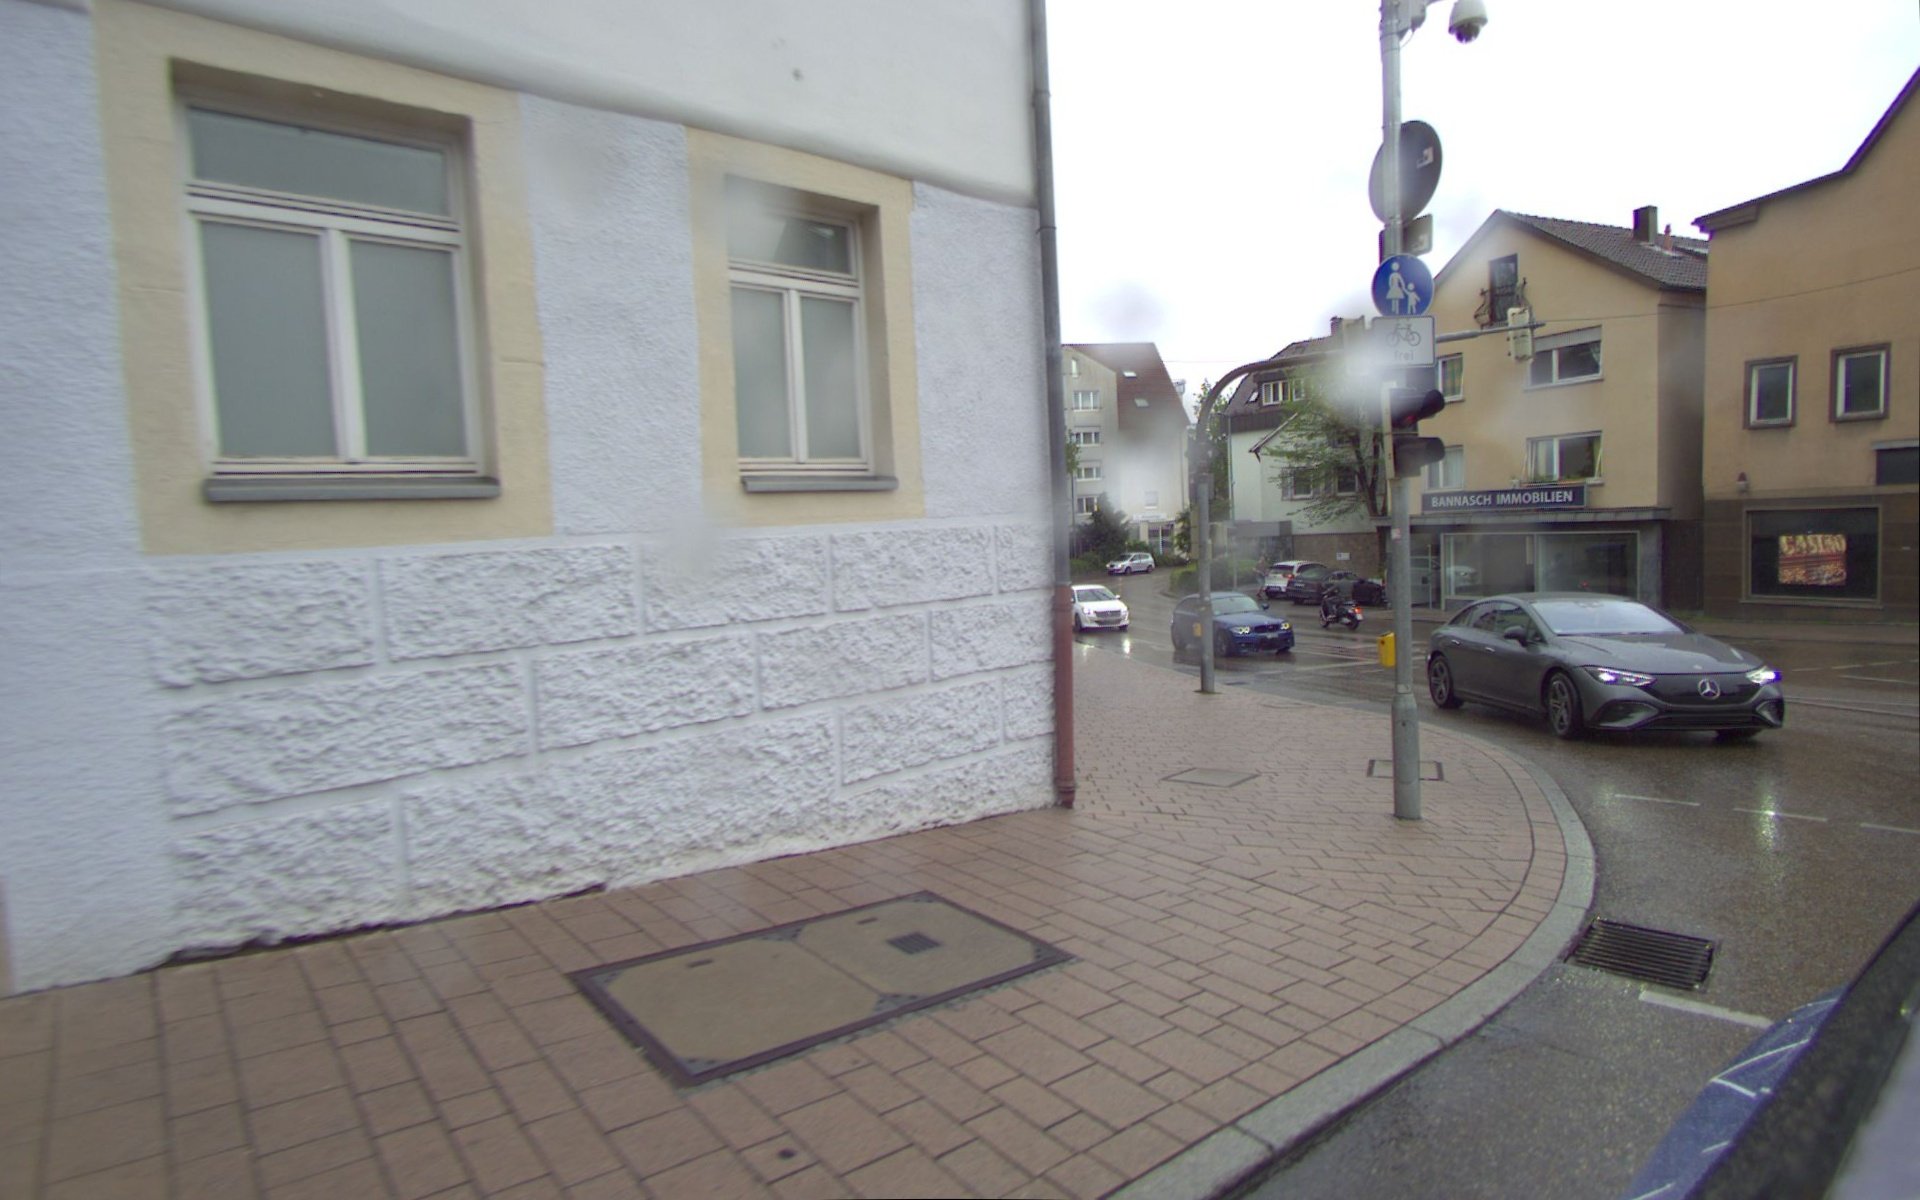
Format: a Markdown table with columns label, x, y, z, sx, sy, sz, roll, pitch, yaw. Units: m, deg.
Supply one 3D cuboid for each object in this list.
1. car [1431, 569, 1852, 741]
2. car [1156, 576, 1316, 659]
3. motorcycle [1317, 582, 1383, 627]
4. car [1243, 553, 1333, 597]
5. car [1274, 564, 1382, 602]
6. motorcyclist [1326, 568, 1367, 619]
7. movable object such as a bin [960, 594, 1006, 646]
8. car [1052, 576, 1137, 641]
| label | x | y | z | sx | sy | sz | roll | pitch | yaw |
| --- | --- | --- | --- | --- | --- | --- | --- | --- | --- |
| car | 7.247 | 0.553 | 11.463 | 1.964 | 1.512 | 4.308 | -2 | -1 | 4 |
| car | 6.682 | 0.341 | 25.030 | 1.739 | 1.550 | 4.389 | -6 | 5 | -15 |
| motorcycle | 11.118 | 0.111 | 28.936 | 0.755 | 1.144 | 1.921 | -3 | 3 | -14 |
| car | 14.124 | -1.121 | 43.534 | 3.580 | 1.648 | 2.000 | -5 | 4 | -36 |
| car | 14.693 | -0.694 | 40.415 | 3.918 | 1.472 | 1.903 | -1 | 1 | -27 |
| motorcyclist | 11.061 | -0.195 | 28.969 | 0.794 | 1.370 | 0.670 | -4 | 2 | -14 |
| movable object such as a bin | 0.644 | 0.546 | 28.515 | 1.135 | 1.328 | 1.188 | -3 | 3 | -4 |
| car | 4.516 | 0.224 | 34.513 | 1.777 | 1.582 | 4.013 | -2 | 8 | -9 |
